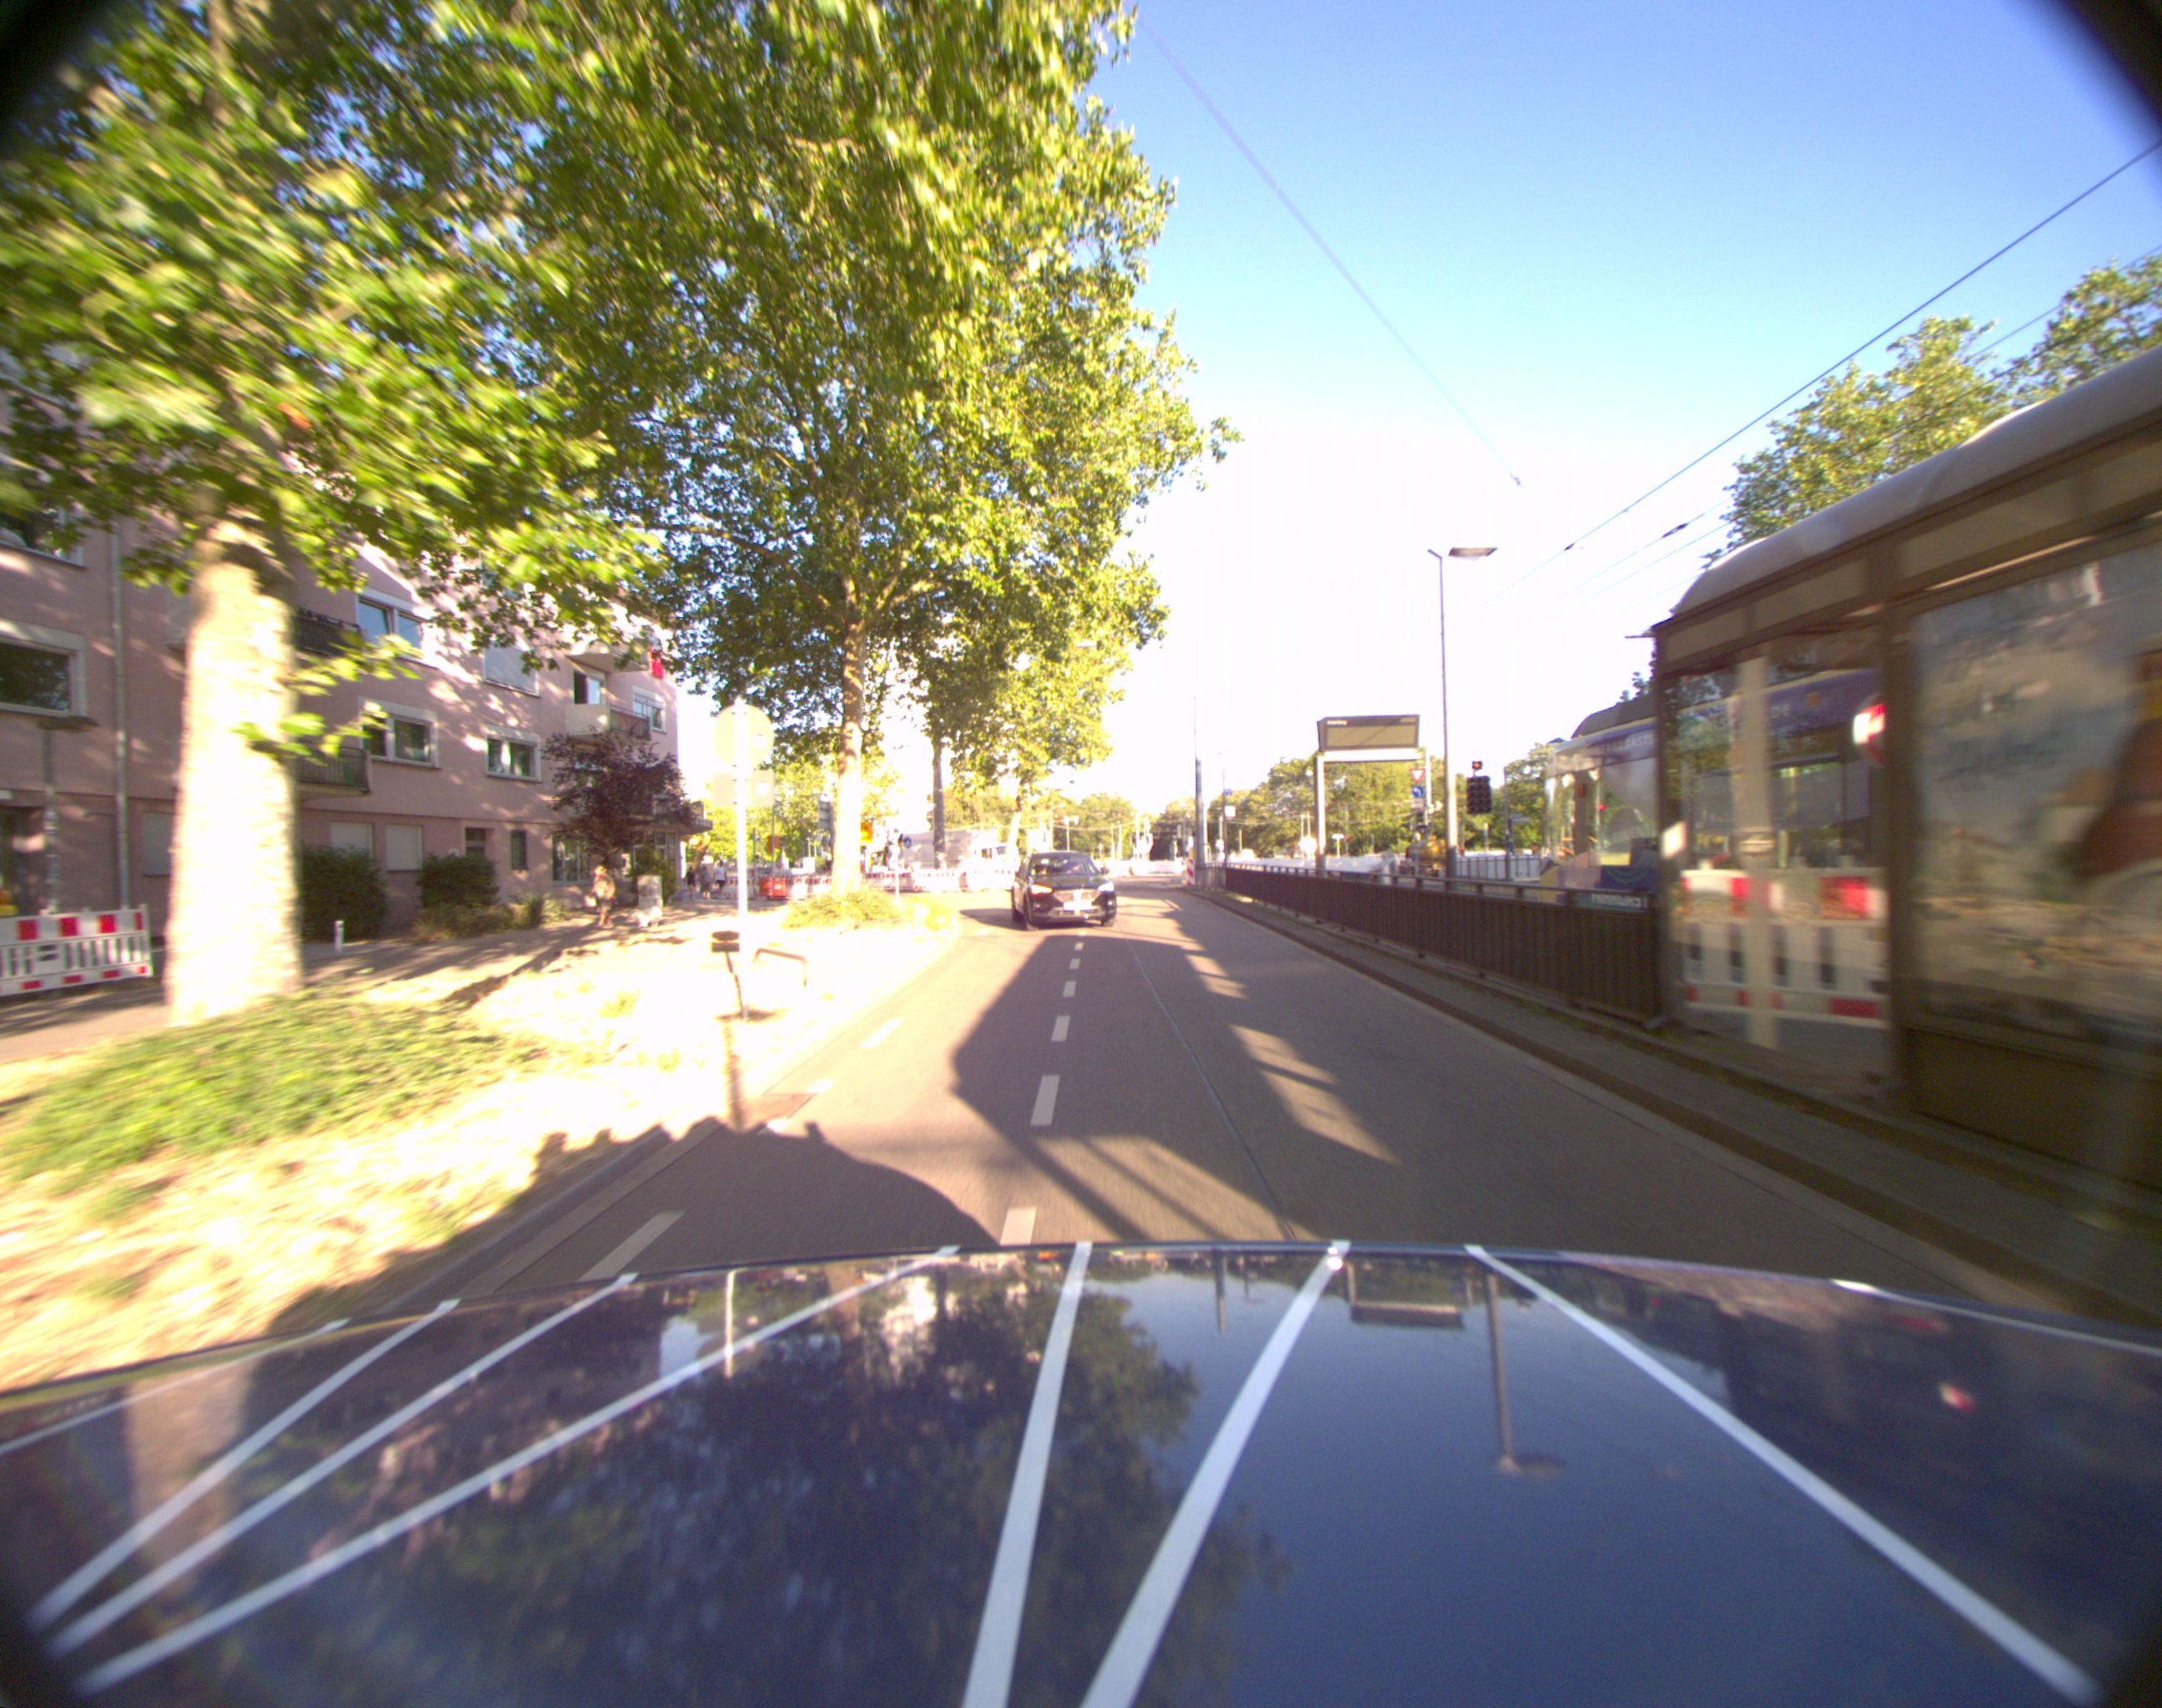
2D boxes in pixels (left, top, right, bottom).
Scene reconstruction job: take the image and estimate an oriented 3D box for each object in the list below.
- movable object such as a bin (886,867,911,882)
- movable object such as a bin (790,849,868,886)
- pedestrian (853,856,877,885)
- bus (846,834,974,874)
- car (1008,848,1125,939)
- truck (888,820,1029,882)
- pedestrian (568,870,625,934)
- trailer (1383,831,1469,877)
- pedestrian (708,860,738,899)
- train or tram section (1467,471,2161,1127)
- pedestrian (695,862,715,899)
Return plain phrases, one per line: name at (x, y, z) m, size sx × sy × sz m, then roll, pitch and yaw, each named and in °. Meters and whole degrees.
movable object such as a bin at (-12.359, 1.385, 51.501) m, size 1.418 × 0.911 × 0.936 m, roll -2°, pitch 0°, yaw 9°
movable object such as a bin at (-16.783, 0.938, 50.468) m, size 5.193 × 2.244 × 2.003 m, roll -2°, pitch 2°, yaw 33°
pedestrian at (-13.888, 1.075, 48.817) m, size 1.067 × 1.788 × 0.977 m, roll -2°, pitch 1°, yaw 23°
bus at (-17.496, 0.023, 78.171) m, size 12.290 × 3.701 × 3.088 m, roll -1°, pitch 0°, yaw 2°
car at (-0.471, 0.771, 16.817) m, size 2.000 × 1.637 × 4.201 m, roll -3°, pitch 0°, yaw -8°
truck at (-7.808, -0.102, 47.680) m, size 8.959 × 3.521 × 2.826 m, roll -2°, pitch 0°, yaw 32°
pedestrian at (-11.634, 1.128, 18.263) m, size 0.792 × 1.465 × 0.816 m, roll -2°, pitch 0°, yaw -2°
trailer at (17.014, 0.007, 37.700) m, size 1.999 × 2.103 × 4.344 m, roll -2°, pitch 0°, yaw -5°
pedestrian at (-17.473, 1.226, 37.070) m, size 1.096 × 1.858 × 0.842 m, roll -2°, pitch -1°, yaw 35°
train or tram section at (7.279, -0.324, 5.324) m, size 2.856 × 3.512 × 13.397 m, roll -1°, pitch 0°, yaw 3°
pedestrian at (-17.885, 1.256, 36.160) m, size 0.677 × 1.698 × 0.586 m, roll -4°, pitch -2°, yaw 40°
